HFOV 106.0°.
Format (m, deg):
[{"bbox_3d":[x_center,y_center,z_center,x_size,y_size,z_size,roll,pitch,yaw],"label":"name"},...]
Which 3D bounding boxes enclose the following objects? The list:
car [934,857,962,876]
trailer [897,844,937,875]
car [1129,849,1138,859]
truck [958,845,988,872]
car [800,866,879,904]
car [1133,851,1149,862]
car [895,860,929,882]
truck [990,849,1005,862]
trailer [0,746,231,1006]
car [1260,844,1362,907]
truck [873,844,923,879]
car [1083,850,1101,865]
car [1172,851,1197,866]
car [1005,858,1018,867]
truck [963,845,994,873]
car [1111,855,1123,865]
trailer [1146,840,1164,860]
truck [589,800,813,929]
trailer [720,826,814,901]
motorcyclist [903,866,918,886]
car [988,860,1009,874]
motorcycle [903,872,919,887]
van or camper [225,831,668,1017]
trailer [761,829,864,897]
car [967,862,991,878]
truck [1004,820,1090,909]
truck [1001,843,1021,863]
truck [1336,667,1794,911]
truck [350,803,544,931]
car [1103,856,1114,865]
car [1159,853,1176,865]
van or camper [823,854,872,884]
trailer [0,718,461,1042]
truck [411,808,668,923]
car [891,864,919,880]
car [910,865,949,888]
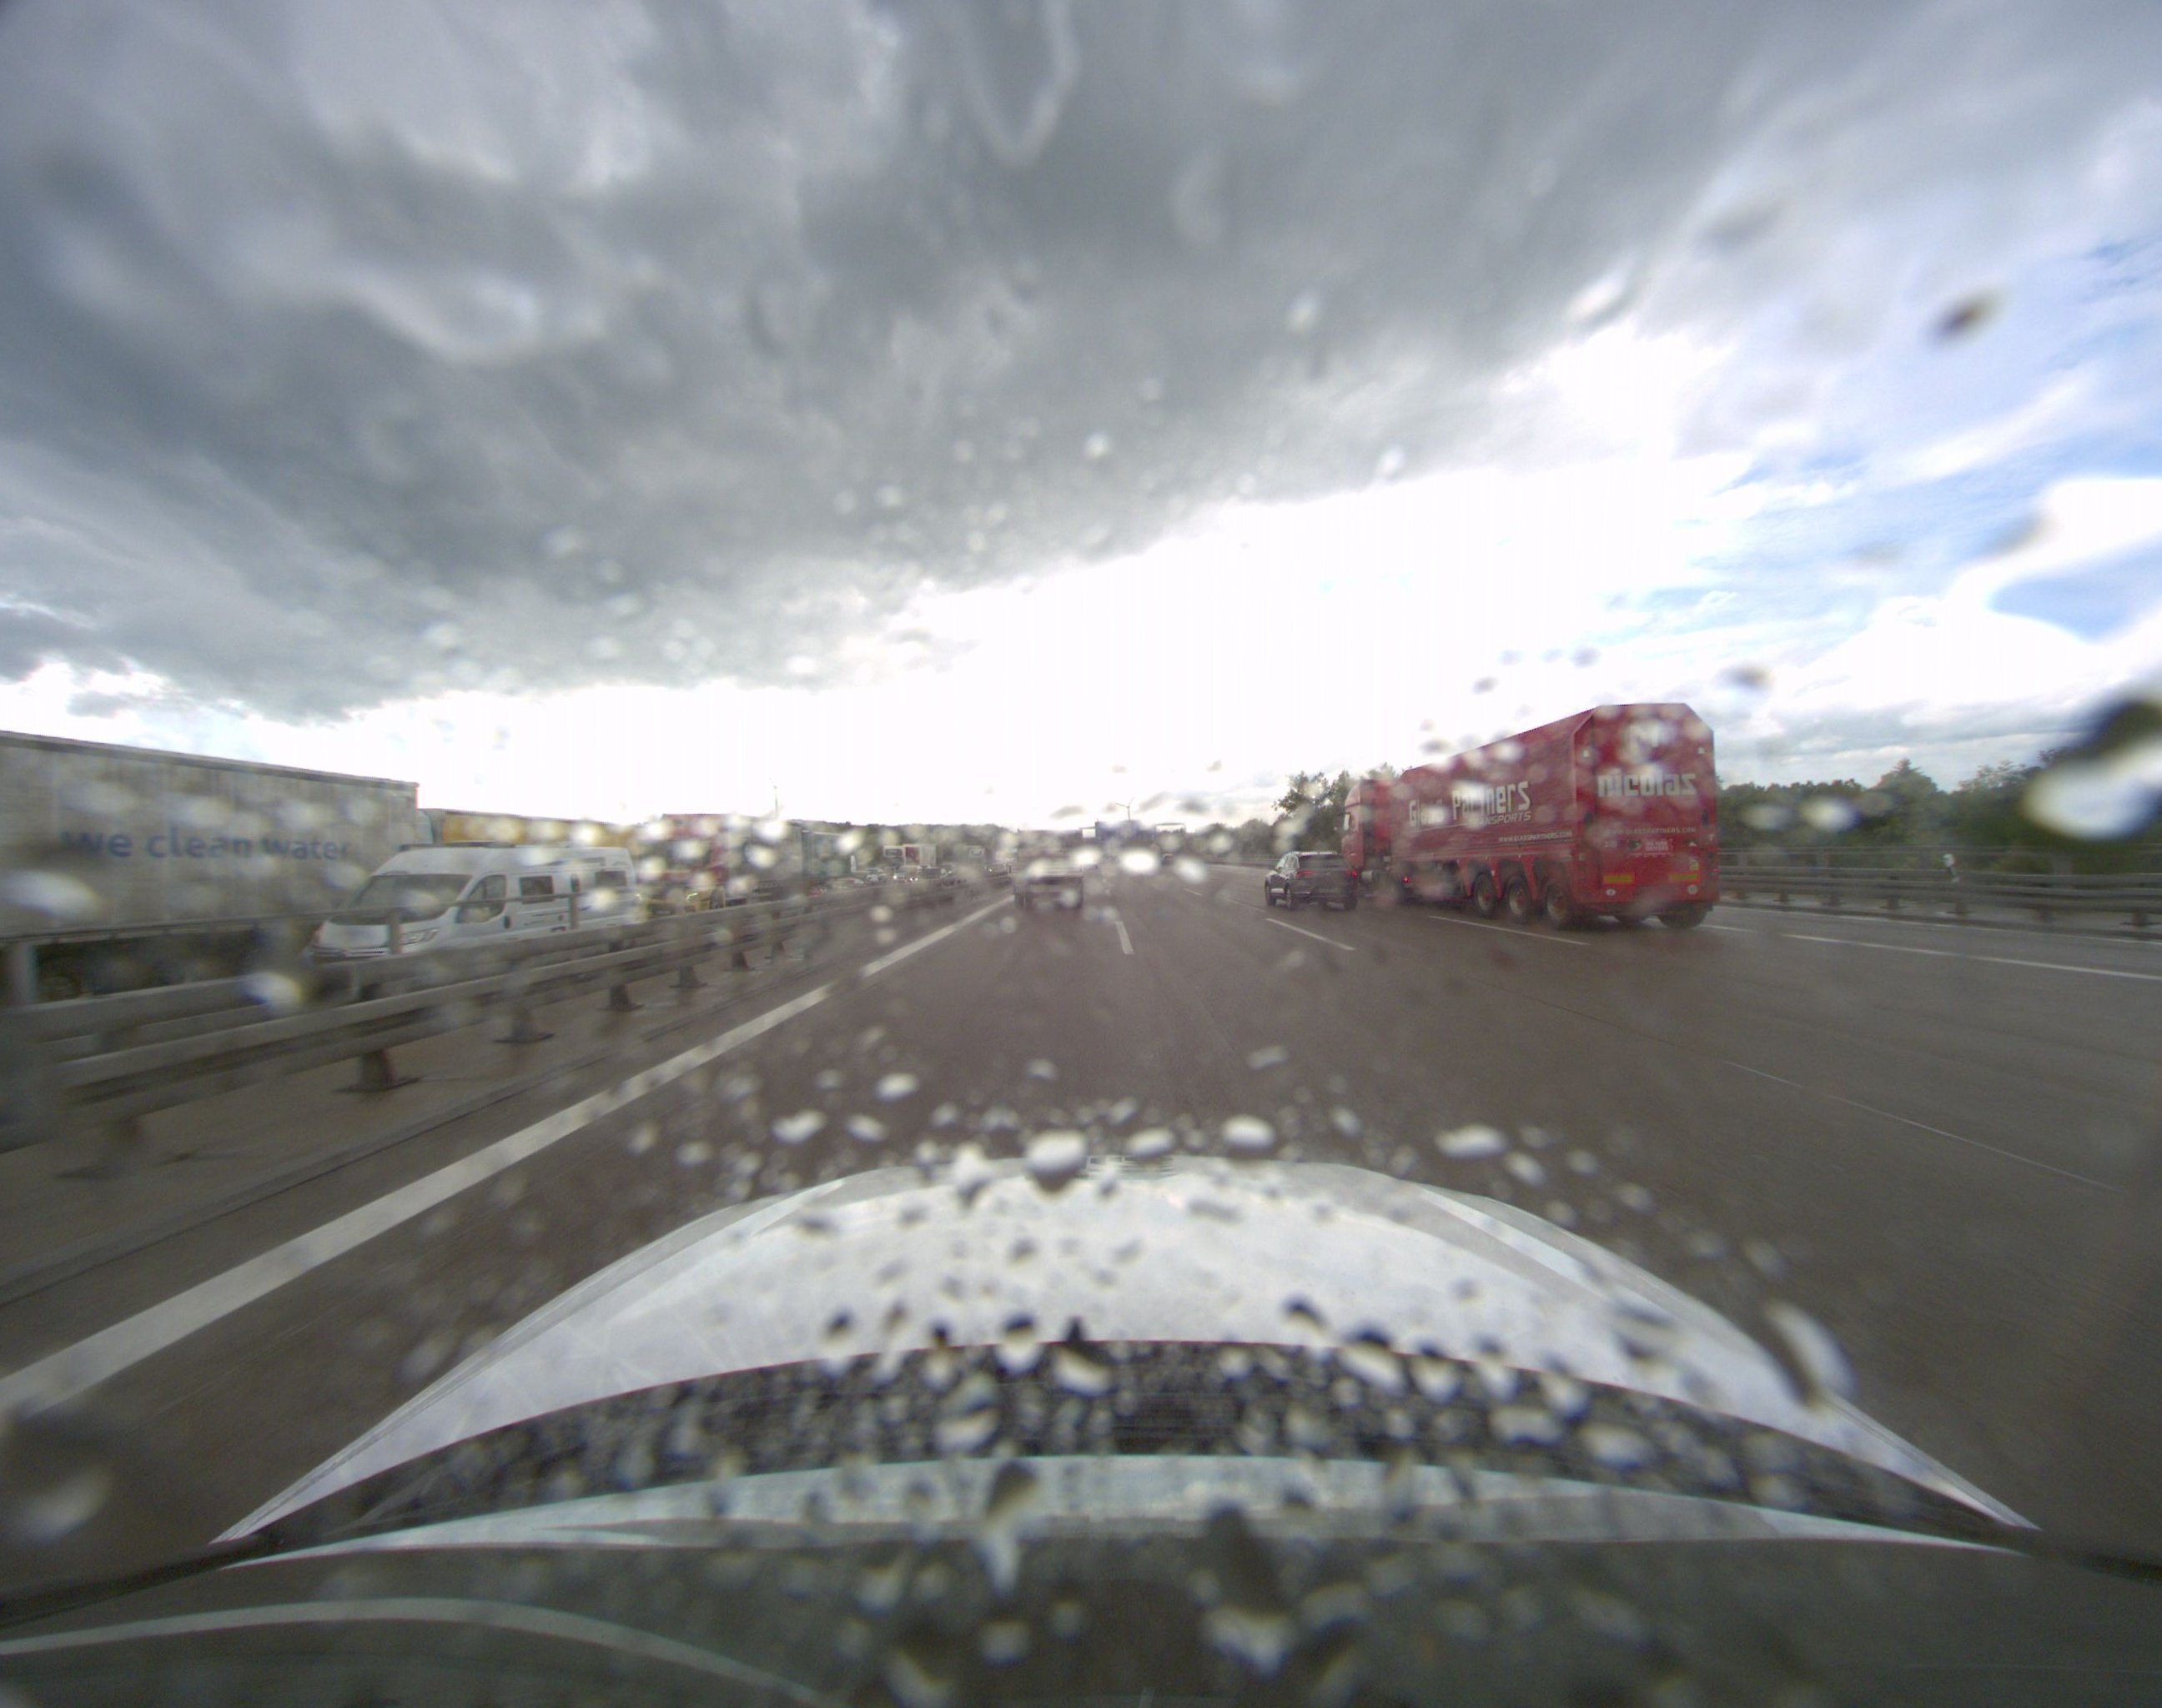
[{"bbox_3d":[-13.066,1.234,80.489,1.713,1.728,5.107,-2,0,2],"label":"car"},{"bbox_3d":[-21.419,0.694,106.912,3.207,3.959,8.854,-1,0,2],"label":"trailer"},{"bbox_3d":[12.994,-0.097,200.687,1.986,2.383,4.651,-2,0,2],"label":"car"},{"bbox_3d":[-16.201,0.639,122.281,3.187,3.933,7.577,-1,0,2],"label":"truck"},{"bbox_3d":[-10.645,1.316,36.343,1.916,1.419,5.012,-2,0,1],"label":"car"},{"bbox_3d":[9.371,0.391,127.908,2.091,1.699,3.998,-1,0,-1],"label":"car"},{"bbox_3d":[-13.702,1.331,66.128,1.758,1.624,4.778,-2,0,-1],"label":"car"},{"bbox_3d":[-19.216,0.365,188.278,2.508,2.986,7.022,-2,0,1],"label":"truck"},{"bbox_3d":[-18.801,0.402,9.851,2.869,4.145,13.035,-2,0,2],"label":"trailer"},{"bbox_3d":[6.215,0.548,22.420,1.786,1.562,3.722,-1,0,1],"label":"car"},{"bbox_3d":[-21.744,0.865,97.319,3.213,3.910,10.286,-1,0,2],"label":"truck"},{"bbox_3d":[1.293,0.392,97.375,2.037,1.699,4.002,-1,0,2],"label":"car"},{"bbox_3d":[11.681,0.479,92.062,2.099,1.605,5.063,-1,0,-1],"label":"car"},{"bbox_3d":[-12.169,1.469,142.670,1.814,1.624,4.700,-2,0,2],"label":"car"},{"bbox_3d":[-13.142,0.607,105.228,2.510,3.399,8.544,-2,0,2],"label":"truck"},{"bbox_3d":[6.403,0.988,145.922,2.038,1.699,4.000,-1,0,0],"label":"car"},{"bbox_3d":[15.716,-0.837,174.282,3.319,4.176,11.845,-1,0,2],"label":"trailer"},{"bbox_3d":[-14.593,0.355,33.124,2.974,4.149,12.523,-2,0,1],"label":"truck"},{"bbox_3d":[-18.113,0.512,47.473,2.824,4.029,6.316,-1,0,1],"label":"trailer"},{"bbox_3d":[-12.134,1.565,58.001,0.725,1.341,1.030,-2,0,2],"label":"motorcyclist"},{"bbox_3d":[-9.625,1.538,95.583,1.713,1.502,5.505,-2,0,2],"label":"car"},{"bbox_3d":[-12.122,1.819,58.108,0.731,0.966,1.790,-2,0,2],"label":"motorcycle"},{"bbox_3d":[-10.668,0.971,14.958,2.270,2.496,7.303,-2,0,1],"label":"van or camper"},{"bbox_3d":[-17.900,0.542,55.315,2.808,4.061,11.606,-1,0,2],"label":"trailer"},{"bbox_3d":[-9.690,1.501,77.716,1.567,1.354,4.386,-2,0,2],"label":"car"},{"bbox_3d":[-0.995,0.280,26.081,2.346,2.408,7.355,-1,0,-1],"label":"truck"},{"bbox_3d":[-14.759,-0.213,172.100,3.166,4.194,7.740,-2,0,1],"label":"truck"},{"bbox_3d":[10.527,-1.117,21.430,3.140,4.003,15.643,-1,0,2],"label":"truck"},{"bbox_3d":[-22.237,0.417,28.936,2.692,4.069,5.110,-2,0,2],"label":"truck"},{"bbox_3d":[5.484,1.295,163.434,1.966,1.699,3.998,-1,0,-1],"label":"car"},{"bbox_3d":[12.287,0.713,116.094,2.038,1.699,5.008,-1,0,1],"label":"car"},{"bbox_3d":[-21.588,1.329,75.612,2.235,2.578,7.365,-2,0,1],"label":"van or camper"},{"bbox_3d":[-15.217,0.375,11.392,2.871,4.145,13.028,-2,0,1],"label":"trailer"},{"bbox_3d":[-22.103,0.398,34.634,2.710,3.982,11.698,-2,0,2],"label":"truck"},{"bbox_3d":[-17.193,1.753,79.602,1.662,1.354,4.220,-2,0,2],"label":"car"},{"bbox_3d":[-10.463,1.545,56.538,1.825,1.452,4.002,-2,0,2],"label":"car"}]
